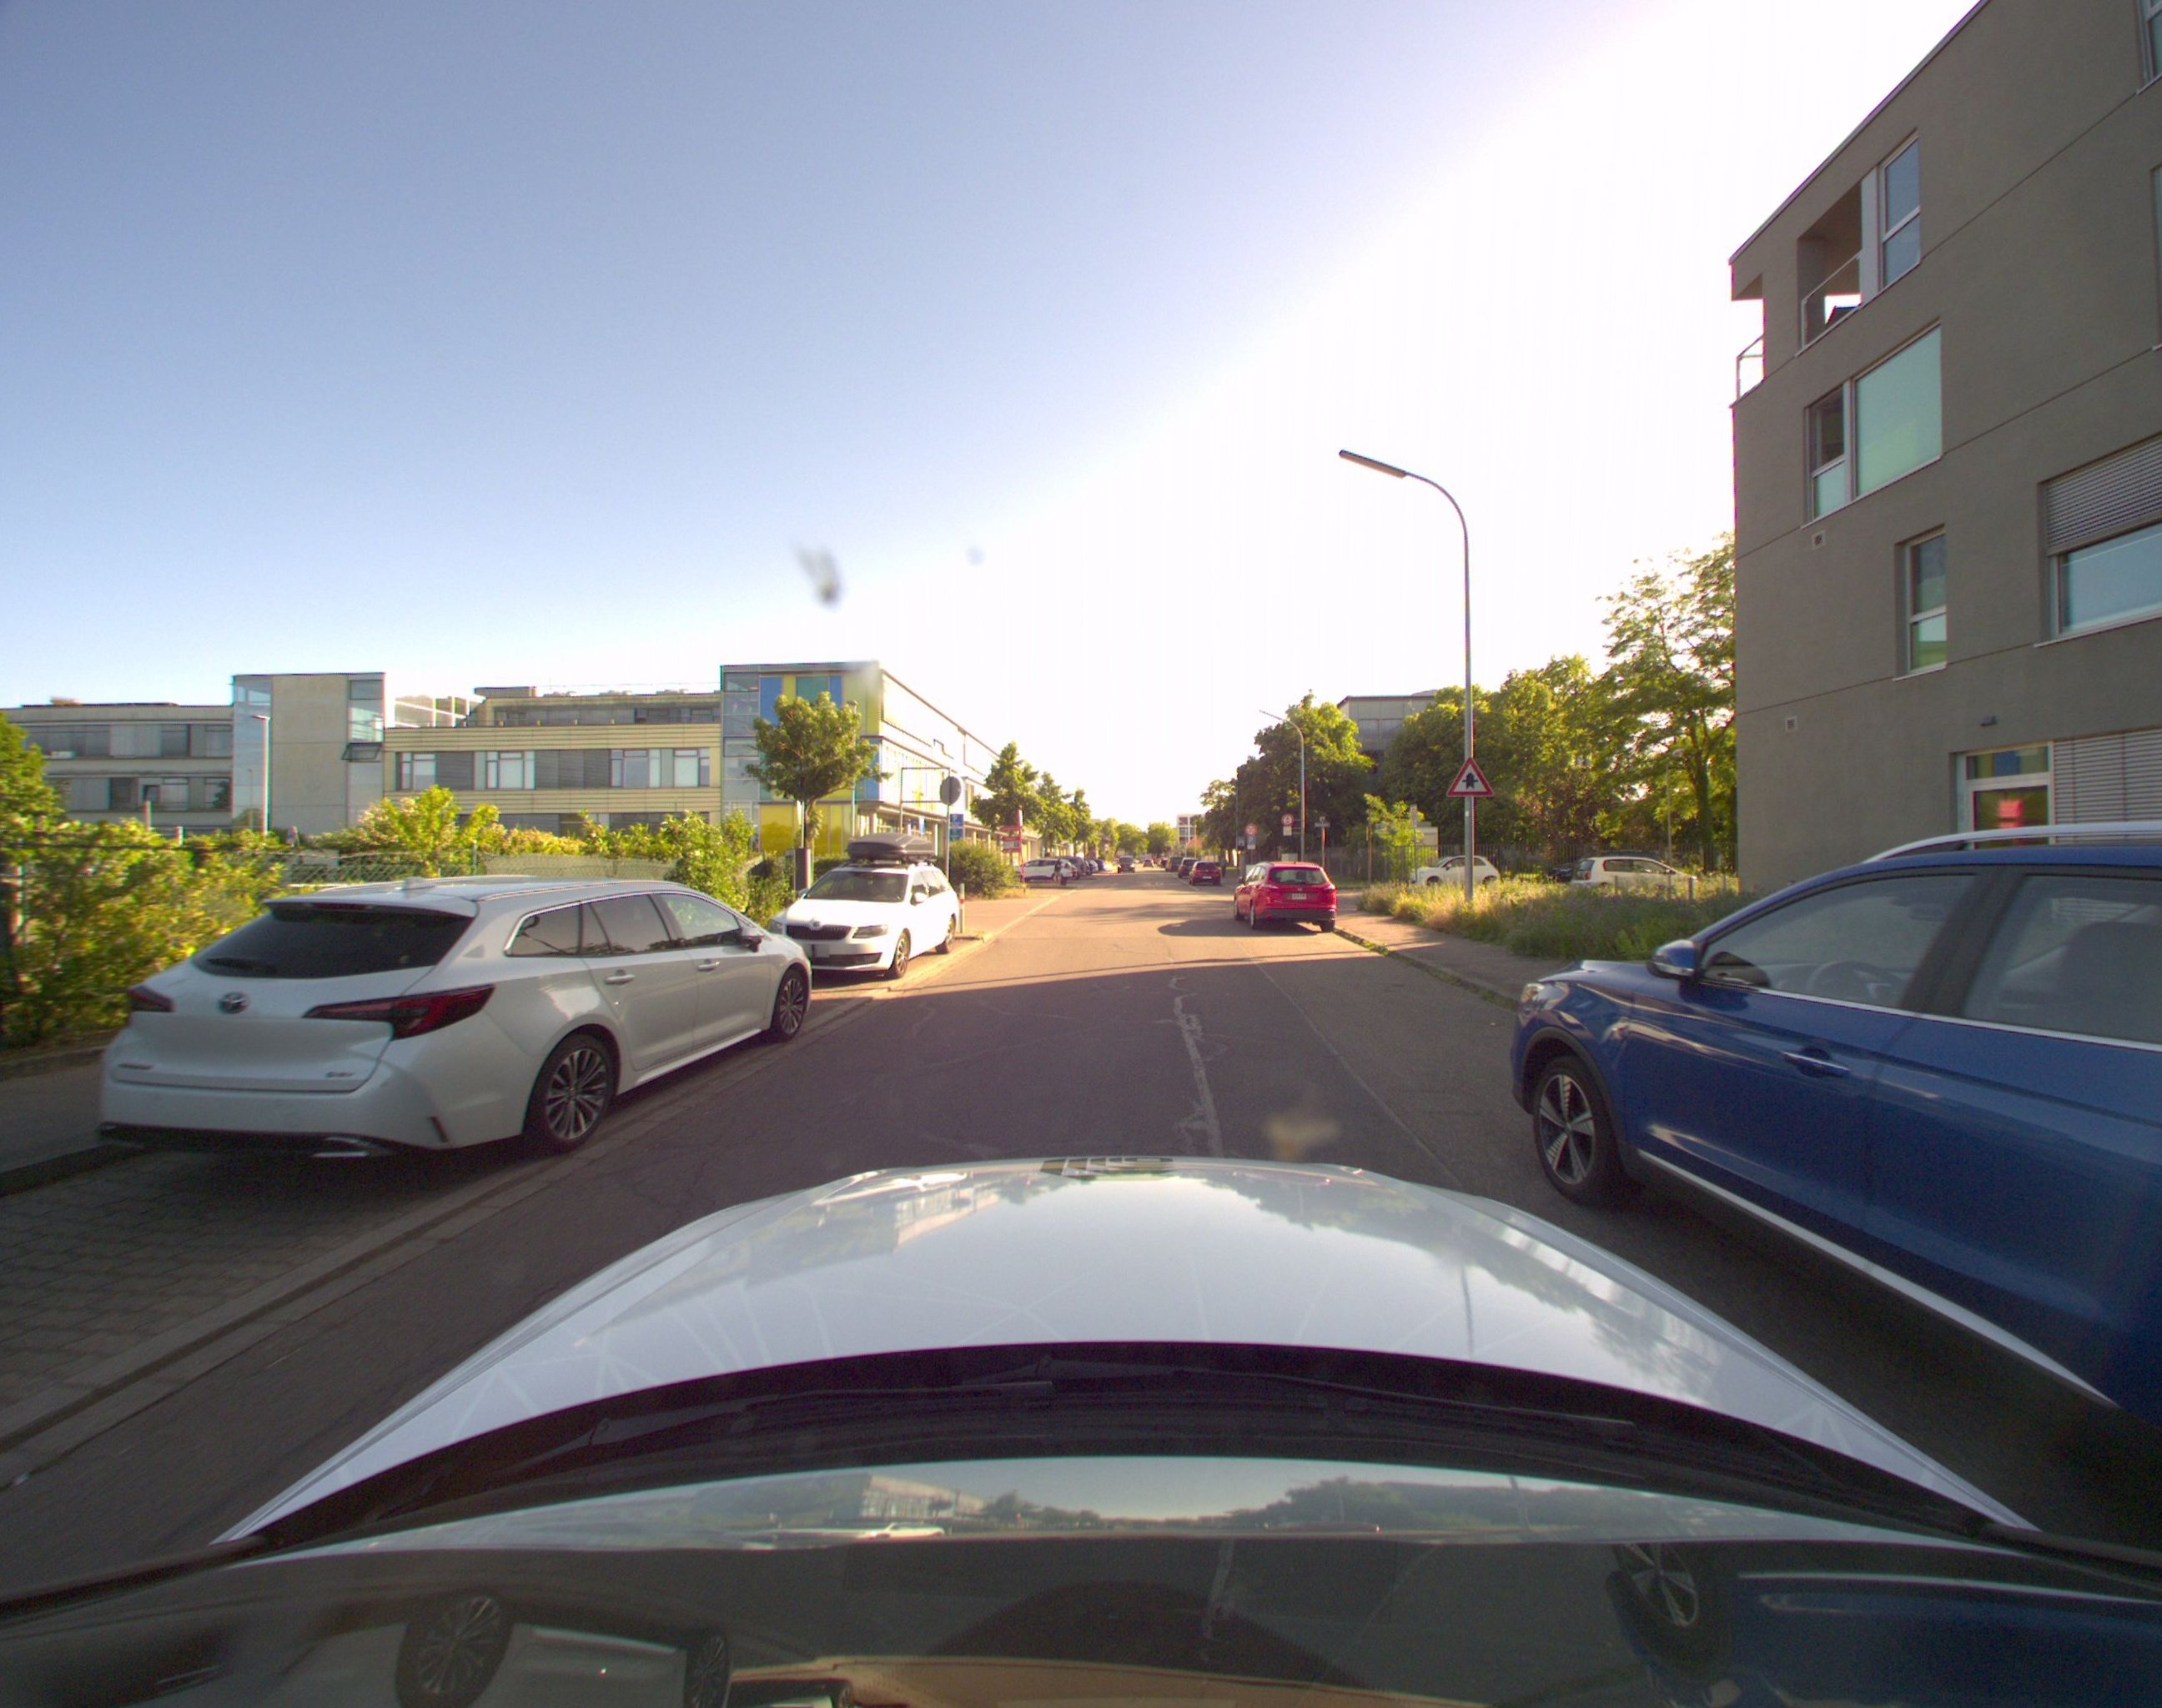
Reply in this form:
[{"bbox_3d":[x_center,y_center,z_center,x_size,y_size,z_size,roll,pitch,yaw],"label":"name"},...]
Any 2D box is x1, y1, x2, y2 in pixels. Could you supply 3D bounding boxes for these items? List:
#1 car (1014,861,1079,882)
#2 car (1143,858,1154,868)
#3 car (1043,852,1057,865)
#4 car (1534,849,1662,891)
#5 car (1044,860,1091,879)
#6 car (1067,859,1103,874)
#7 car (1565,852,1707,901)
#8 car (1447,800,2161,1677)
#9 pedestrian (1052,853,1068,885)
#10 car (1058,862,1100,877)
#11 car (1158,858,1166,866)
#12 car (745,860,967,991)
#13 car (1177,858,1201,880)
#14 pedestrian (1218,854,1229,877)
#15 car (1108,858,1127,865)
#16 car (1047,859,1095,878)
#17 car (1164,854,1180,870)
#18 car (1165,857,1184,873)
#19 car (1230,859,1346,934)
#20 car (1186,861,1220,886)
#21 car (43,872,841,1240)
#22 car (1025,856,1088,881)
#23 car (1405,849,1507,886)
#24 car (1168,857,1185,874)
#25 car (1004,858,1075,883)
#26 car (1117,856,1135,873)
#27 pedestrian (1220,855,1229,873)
[{"bbox_3d":[-2.454,1.242,58.350,4.413,1.501,1.829,0,-1,4],"label":"car"},{"bbox_3d":[11.589,1.546,139.695,1.736,1.543,4.004,0,-1,4],"label":"car"},{"bbox_3d":[-5.174,0.740,135.967,1.984,2.014,4.004,0,-2,4],"label":"car"},{"bbox_3d":[21.254,0.659,33.610,4.133,1.637,1.758,-1,-1,5],"label":"car"},{"bbox_3d":[-1.163,1.324,70.948,3.973,1.607,1.872,1,-1,0],"label":"car"},{"bbox_3d":[0.479,1.473,96.671,4.200,1.603,1.872,1,-1,0],"label":"car"},{"bbox_3d":[17.585,0.703,25.941,3.307,1.458,1.719,-1,-1,9],"label":"car"},{"bbox_3d":[2.952,0.728,2.484,1.809,1.600,4.631,1,0,3],"label":"car"},{"bbox_3d":[-1.242,0.893,48.244,0.853,1.842,0.827,1,-1,6],"label":"pedestrian"},{"bbox_3d":[-0.187,1.508,79.635,3.973,1.359,1.743,1,-1,0],"label":"car"},{"bbox_3d":[15.194,1.456,153.118,1.429,1.560,3.045,-1,0,4],"label":"car"},{"bbox_3d":[-3.021,0.872,12.023,1.688,1.513,4.522,2,0,4],"label":"car"},{"bbox_3d":[8.886,1.180,67.167,1.803,1.666,4.599,1,0,5],"label":"car"},{"bbox_3d":[11.298,0.911,64.592,0.714,1.758,0.886,-3,-1,5],"label":"pedestrian"},{"bbox_3d":[8.070,1.719,180.088,3.969,1.519,2.002,0,-2,4],"label":"car"},{"bbox_3d":[-0.864,1.311,73.893,4.232,1.612,2.048,1,-1,0],"label":"car"},{"bbox_3d":[11.669,1.033,104.559,1.866,1.978,4.004,-2,-1,4],"label":"car"},{"bbox_3d":[11.244,1.293,98.316,1.984,1.823,4.203,-2,-1,4],"label":"car"},{"bbox_3d":[4.621,0.883,18.828,1.811,1.500,4.456,1,0,4],"label":"car"},{"bbox_3d":[7.613,1.184,51.156,1.712,1.455,4.656,1,0,4],"label":"car"},{"bbox_3d":[-3.414,0.893,5.733,1.739,1.446,4.547,1,0,5],"label":"car"},{"bbox_3d":[-1.925,1.135,63.983,4.720,1.865,1.830,1,0,4],"label":"car"},{"bbox_3d":[15.633,0.552,34.074,3.529,1.486,1.602,-1,-1,5],"label":"car"},{"bbox_3d":[10.772,1.276,92.085,1.725,1.830,3.910,-1,-1,5],"label":"car"},{"bbox_3d":[-2.815,1.145,55.697,4.586,1.651,1.871,0,-1,7],"label":"car"},{"bbox_3d":[5.165,1.162,92.407,1.946,1.867,5.260,-1,-1,4],"label":"car"},{"bbox_3d":[13.640,0.972,77.319,0.695,1.661,0.752,-3,-1,4],"label":"pedestrian"}]
